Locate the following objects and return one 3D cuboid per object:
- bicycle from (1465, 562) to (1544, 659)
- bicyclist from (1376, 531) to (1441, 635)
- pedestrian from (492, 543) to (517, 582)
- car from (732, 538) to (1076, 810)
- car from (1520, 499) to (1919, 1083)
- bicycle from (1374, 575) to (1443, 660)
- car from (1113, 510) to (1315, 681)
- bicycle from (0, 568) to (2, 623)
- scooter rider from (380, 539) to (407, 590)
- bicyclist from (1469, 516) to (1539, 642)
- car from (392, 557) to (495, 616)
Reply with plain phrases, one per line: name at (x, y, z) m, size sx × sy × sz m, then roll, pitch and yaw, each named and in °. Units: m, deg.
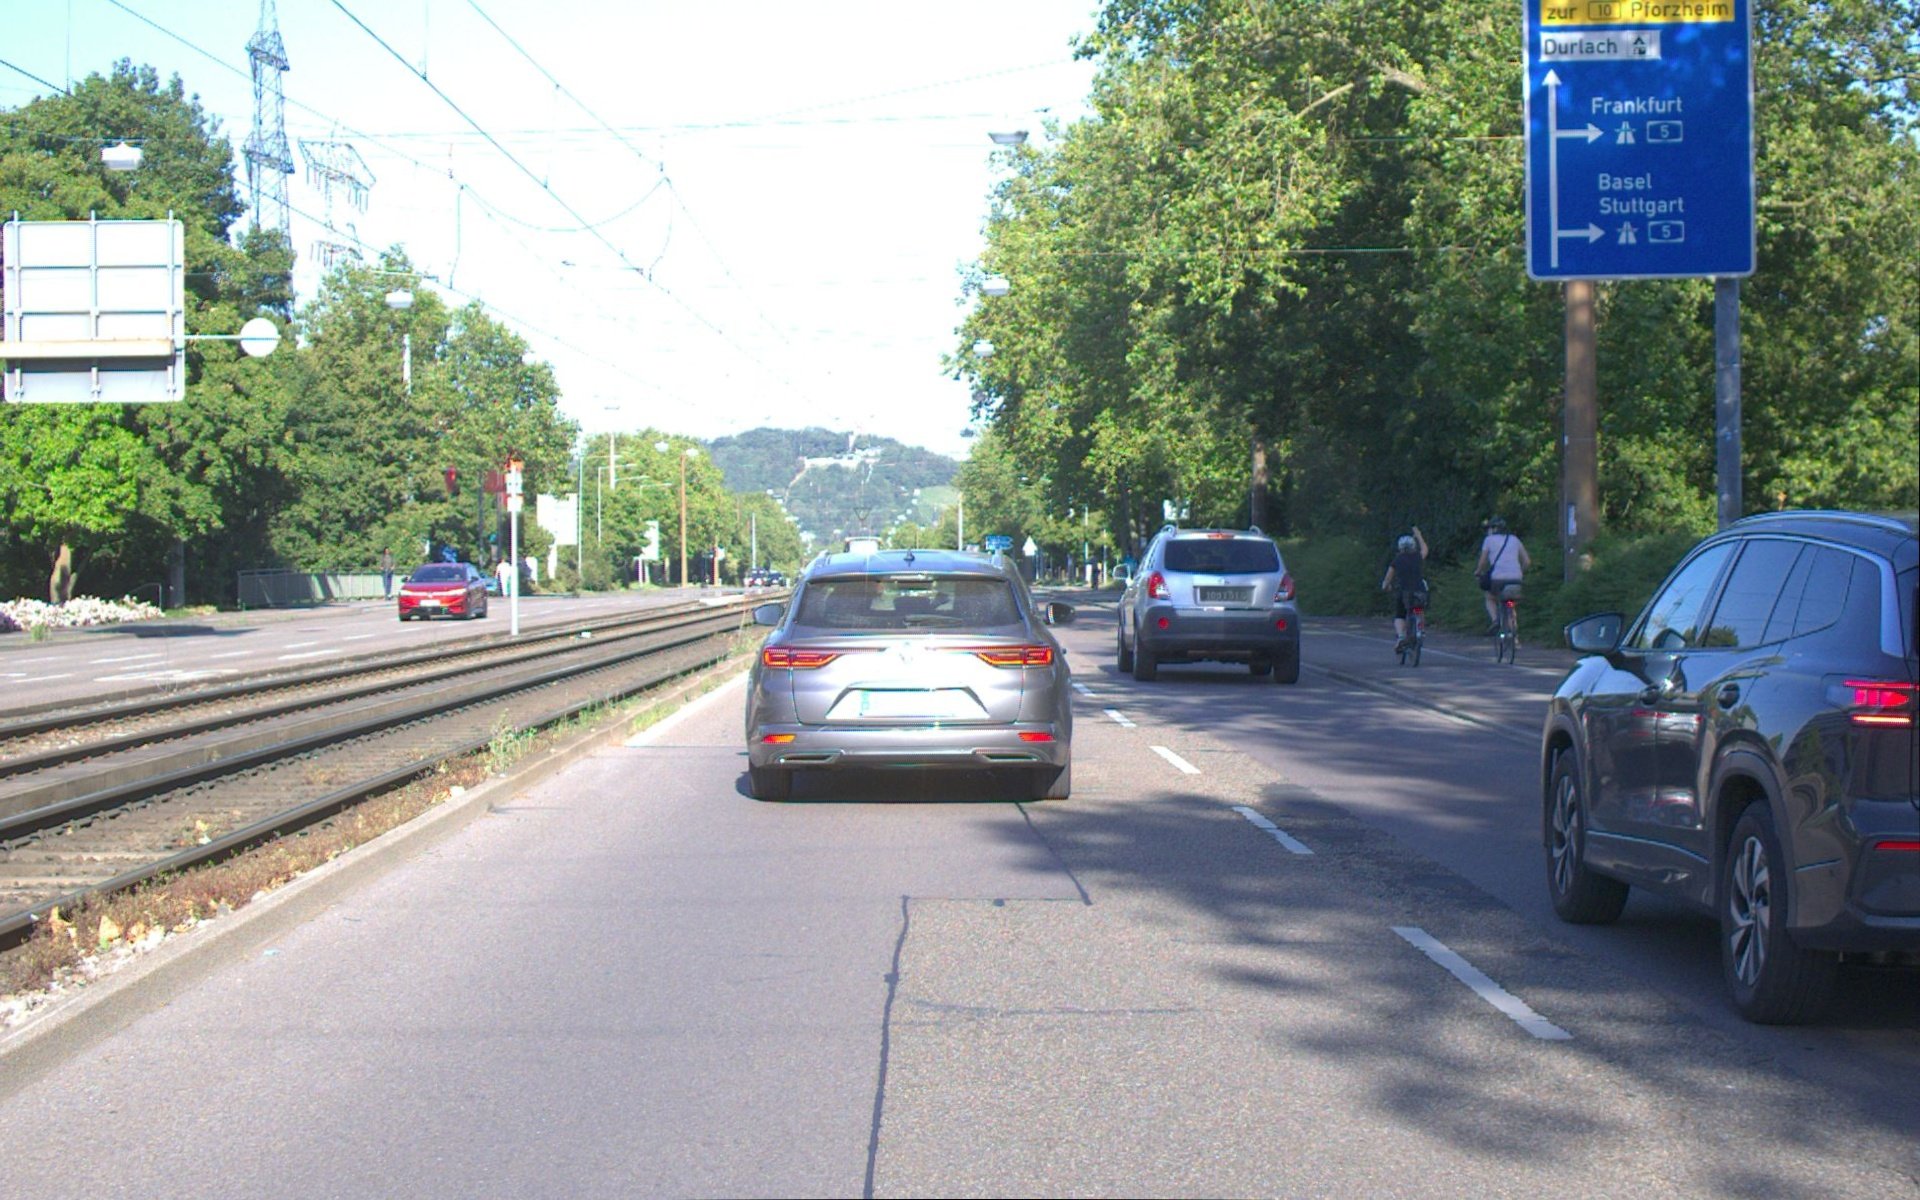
bicycle at (6.556, 0.119, 41.466) m, size 0.622 × 1.116 × 1.813 m, roll -1°, pitch 1°, yaw -1°
bicyclist at (5.398, -0.213, 41.425) m, size 0.641 × 1.222 × 0.891 m, roll -1°, pitch 1°, yaw 0°
pedestrian at (-20.992, -1.711, 158.467) m, size 0.725 × 1.750 × 0.834 m, roll 2°, pitch 0°, yaw 21°
car at (-0.305, 0.360, 21.010) m, size 1.866 × 1.462 × 4.666 m, roll 0°, pitch 1°, yaw 0°
car at (3.311, 0.499, 11.991) m, size 1.844 × 1.655 × 4.440 m, roll 1°, pitch 1°, yaw -2°
bicycle at (5.401, 0.196, 41.469) m, size 0.565 × 0.971 × 1.788 m, roll -1°, pitch 1°, yaw -1°
car at (2.851, -0.096, 39.381) m, size 1.883 × 1.789 × 4.000 m, roll 2°, pitch 1°, yaw -1°
bicycle at (-21.240, -0.091, 74.102) m, size 0.602 × 1.215 × 1.748 m, roll 2°, pitch 1°, yaw 3°
scooter rider at (-20.540, -1.286, 124.678) m, size 0.682 × 1.842 × 1.000 m, roll -1°, pitch 1°, yaw 7°
bicyclist at (6.557, -0.257, 41.489) m, size 0.685 × 1.503 × 0.891 m, roll 0°, pitch 1°, yaw 0°
car at (-13.979, -0.396, 93.266) m, size 2.039 × 1.498 × 4.888 m, roll 0°, pitch 1°, yaw 0°
